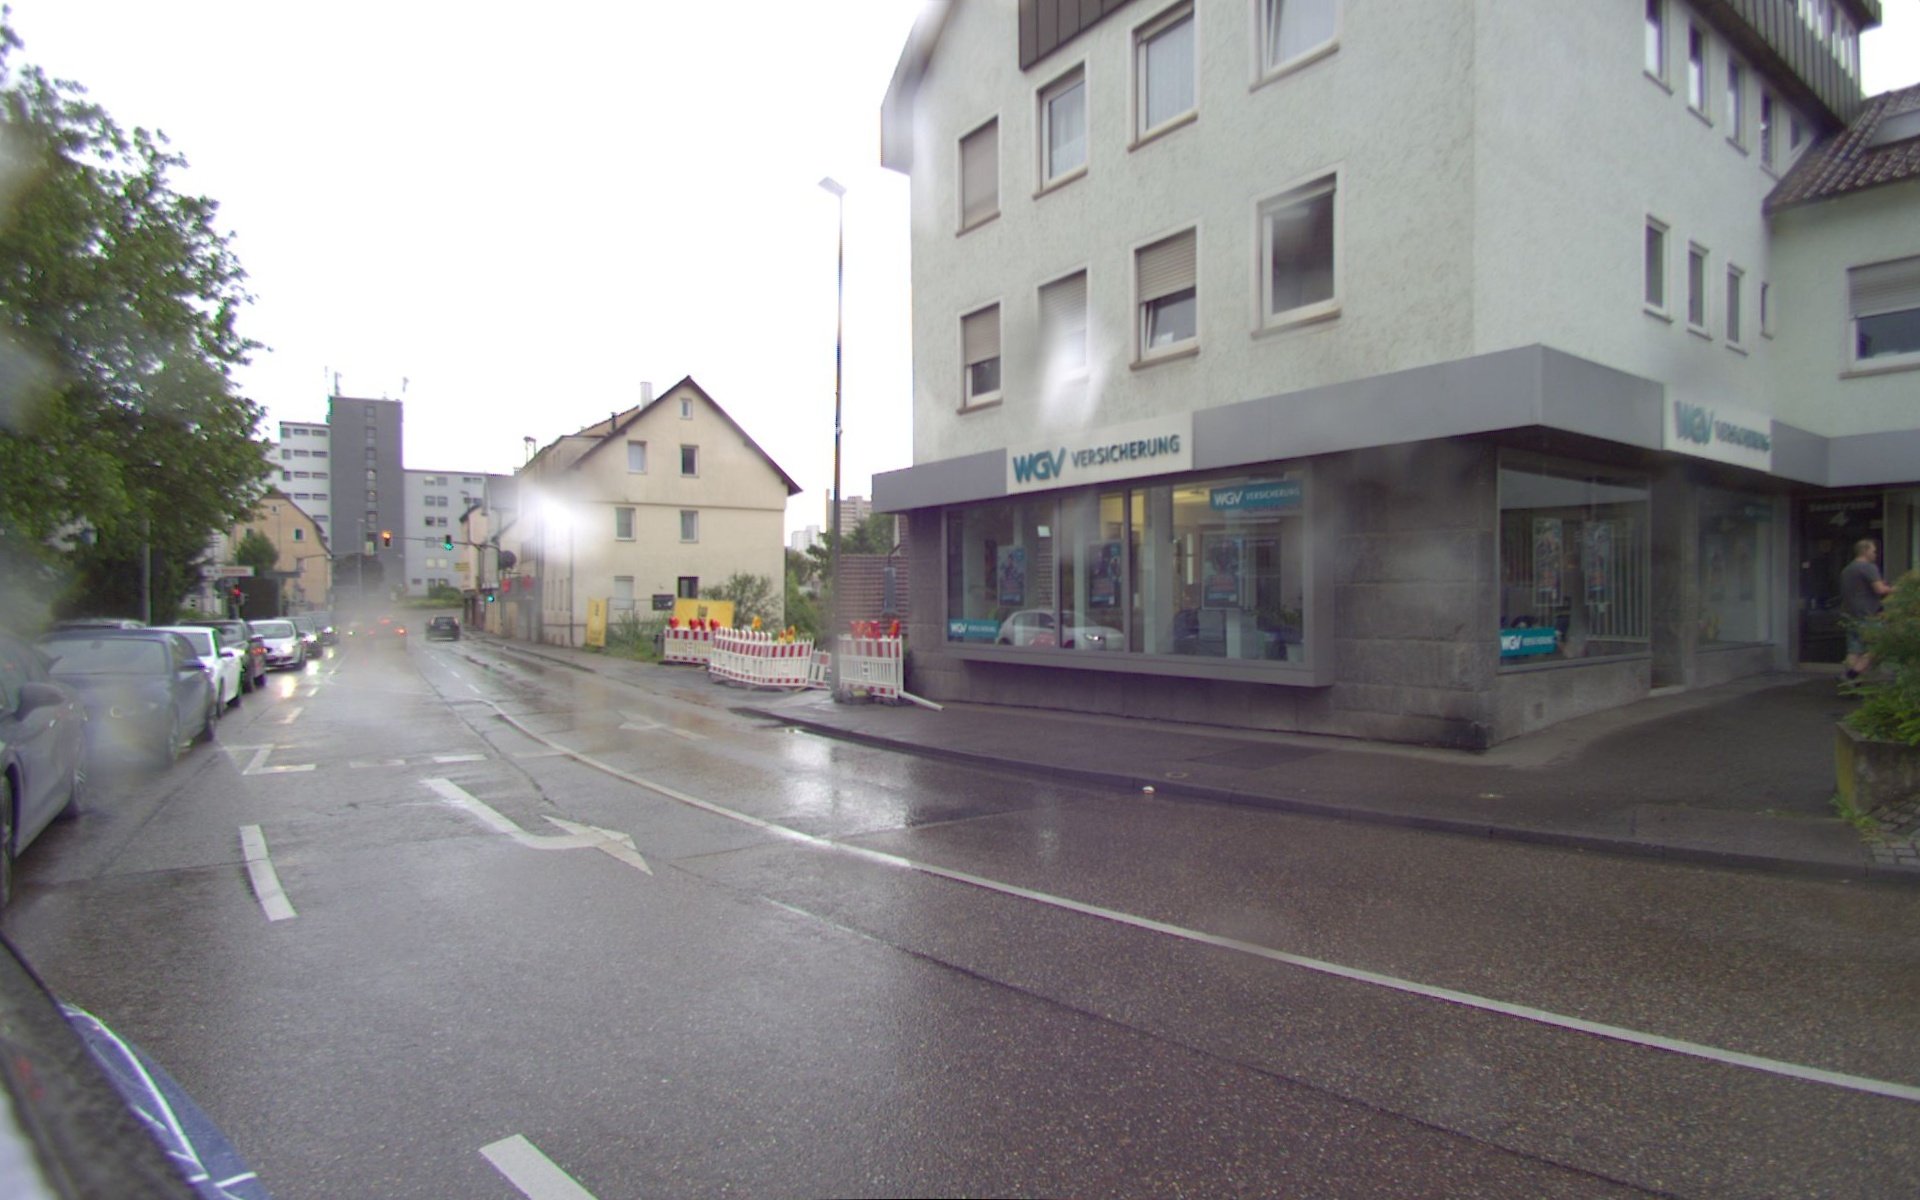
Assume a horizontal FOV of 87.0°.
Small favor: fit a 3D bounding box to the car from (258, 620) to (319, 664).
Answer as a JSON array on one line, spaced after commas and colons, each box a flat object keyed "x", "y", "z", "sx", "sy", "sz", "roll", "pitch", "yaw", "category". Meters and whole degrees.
[{"x": -26.698, "y": 1.648, "z": 40.326, "sx": 1.802, "sy": 1.563, "sz": 4.012, "roll": -2, "pitch": 0, "yaw": -31, "category": "car"}]

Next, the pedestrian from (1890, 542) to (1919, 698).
[{"x": 10.693, "y": 0.204, "z": 10.923, "sx": 0.608, "sy": 1.684, "sz": 0.864, "roll": -2, "pitch": 0, "yaw": -42, "category": "pedestrian"}]

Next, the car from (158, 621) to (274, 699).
[{"x": -17.096, "y": 1.308, "z": 23.425, "sx": 1.784, "sy": 1.577, "sz": 4.012, "roll": -1, "pitch": 0, "yaw": -31, "category": "car"}]

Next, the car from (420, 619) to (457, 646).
[{"x": -31.442, "y": 1.932, "z": 60.994, "sx": 1.783, "sy": 1.577, "sz": 4.012, "roll": 0, "pitch": -1, "yaw": -30, "category": "car"}]

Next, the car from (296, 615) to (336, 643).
[{"x": -36.351, "y": 1.637, "z": 57.061, "sx": 1.823, "sy": 1.489, "sz": 4.011, "roll": -1, "pitch": -1, "yaw": -33, "category": "car"}]

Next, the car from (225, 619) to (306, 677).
[{"x": -21.437, "y": 1.419, "z": 31.355, "sx": 1.814, "sy": 1.633, "sz": 4.012, "roll": -1, "pitch": -1, "yaw": -31, "category": "car"}]

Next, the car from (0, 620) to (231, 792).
[{"x": -9.520, "y": 1.017, "z": 11.358, "sx": 1.744, "sy": 1.544, "sz": 4.391, "roll": -1, "pitch": -1, "yaw": -30, "category": "car"}]

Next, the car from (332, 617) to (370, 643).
[{"x": -42.368, "y": 2.103, "z": 70.398, "sx": 1.967, "sy": 1.564, "sz": 4.010, "roll": 1, "pitch": -6, "yaw": -35, "category": "car"}]

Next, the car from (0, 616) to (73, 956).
[{"x": -6.281, "y": 0.874, "z": 5.476, "sx": 1.968, "sy": 1.504, "sz": 4.322, "roll": -1, "pitch": -1, "yaw": -38, "category": "car"}]

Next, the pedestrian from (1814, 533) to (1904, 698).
[{"x": 10.391, "y": 0.172, "z": 11.698, "sx": 0.608, "sy": 1.833, "sz": 0.674, "roll": -2, "pitch": 0, "yaw": -42, "category": "pedestrian"}]

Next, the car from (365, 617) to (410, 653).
[{"x": -27.267, "y": 1.634, "z": 48.161, "sx": 1.783, "sy": 1.577, "sz": 4.012, "roll": -1, "pitch": 0, "yaw": -30, "category": "car"}]

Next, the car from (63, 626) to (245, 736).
[{"x": -13.156, "y": 1.221, "z": 16.771, "sx": 1.967, "sy": 1.464, "sz": 4.011, "roll": -2, "pitch": 0, "yaw": -33, "category": "car"}]
